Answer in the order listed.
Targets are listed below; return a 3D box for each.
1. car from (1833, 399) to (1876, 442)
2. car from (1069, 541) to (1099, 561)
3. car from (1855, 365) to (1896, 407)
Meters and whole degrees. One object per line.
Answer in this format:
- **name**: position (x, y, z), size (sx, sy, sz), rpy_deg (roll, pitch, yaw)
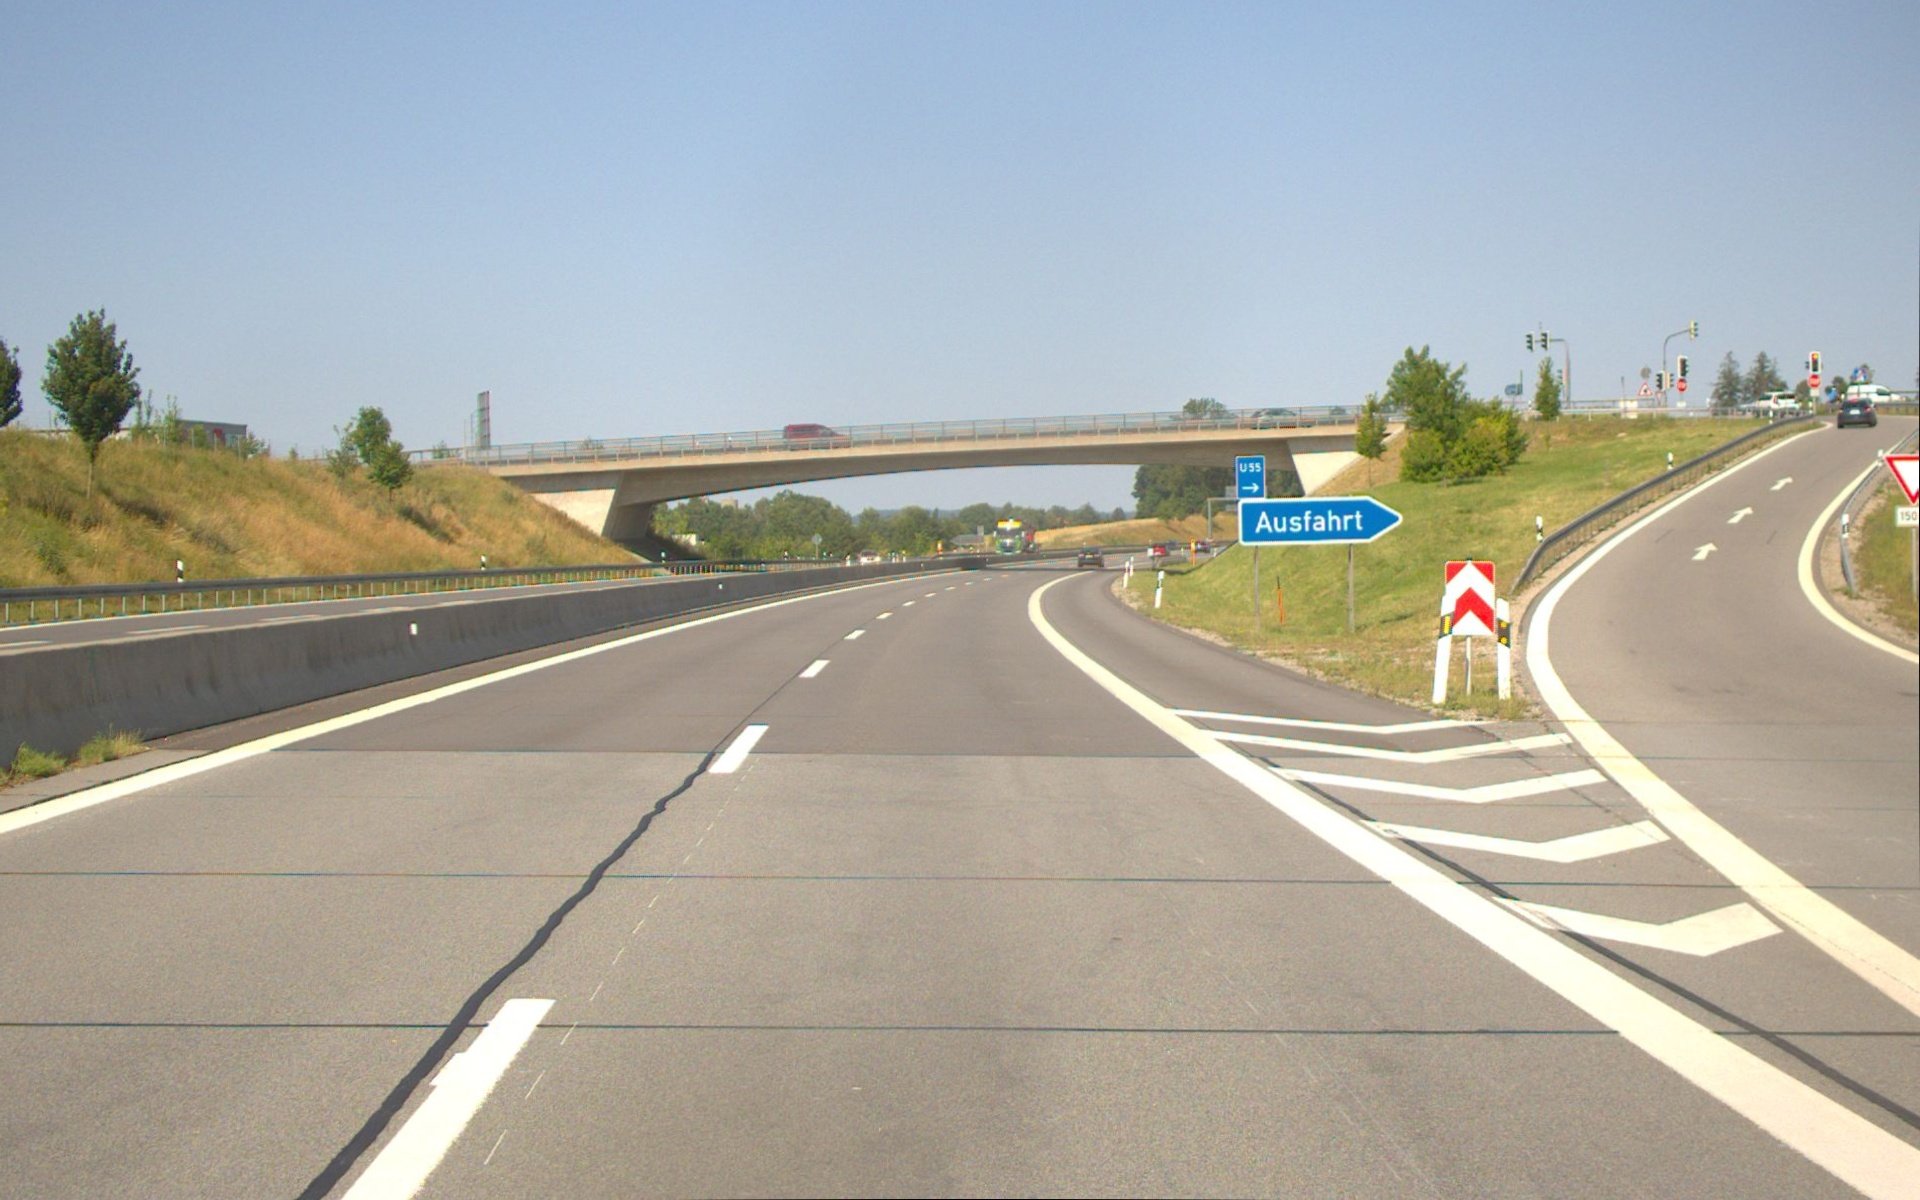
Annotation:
- **car**: position (45.803, -9.198, 175.983), size (1.995, 2.007, 3.997), rpy_deg (-2, 1, 16)
- **car**: position (8.969, -3.572, 249.502), size (1.993, 1.415, 4.000), rpy_deg (-2, 1, 0)
- **car**: position (48.779, -11.389, 183.084), size (1.995, 2.007, 3.997), rpy_deg (-1, 1, 16)
